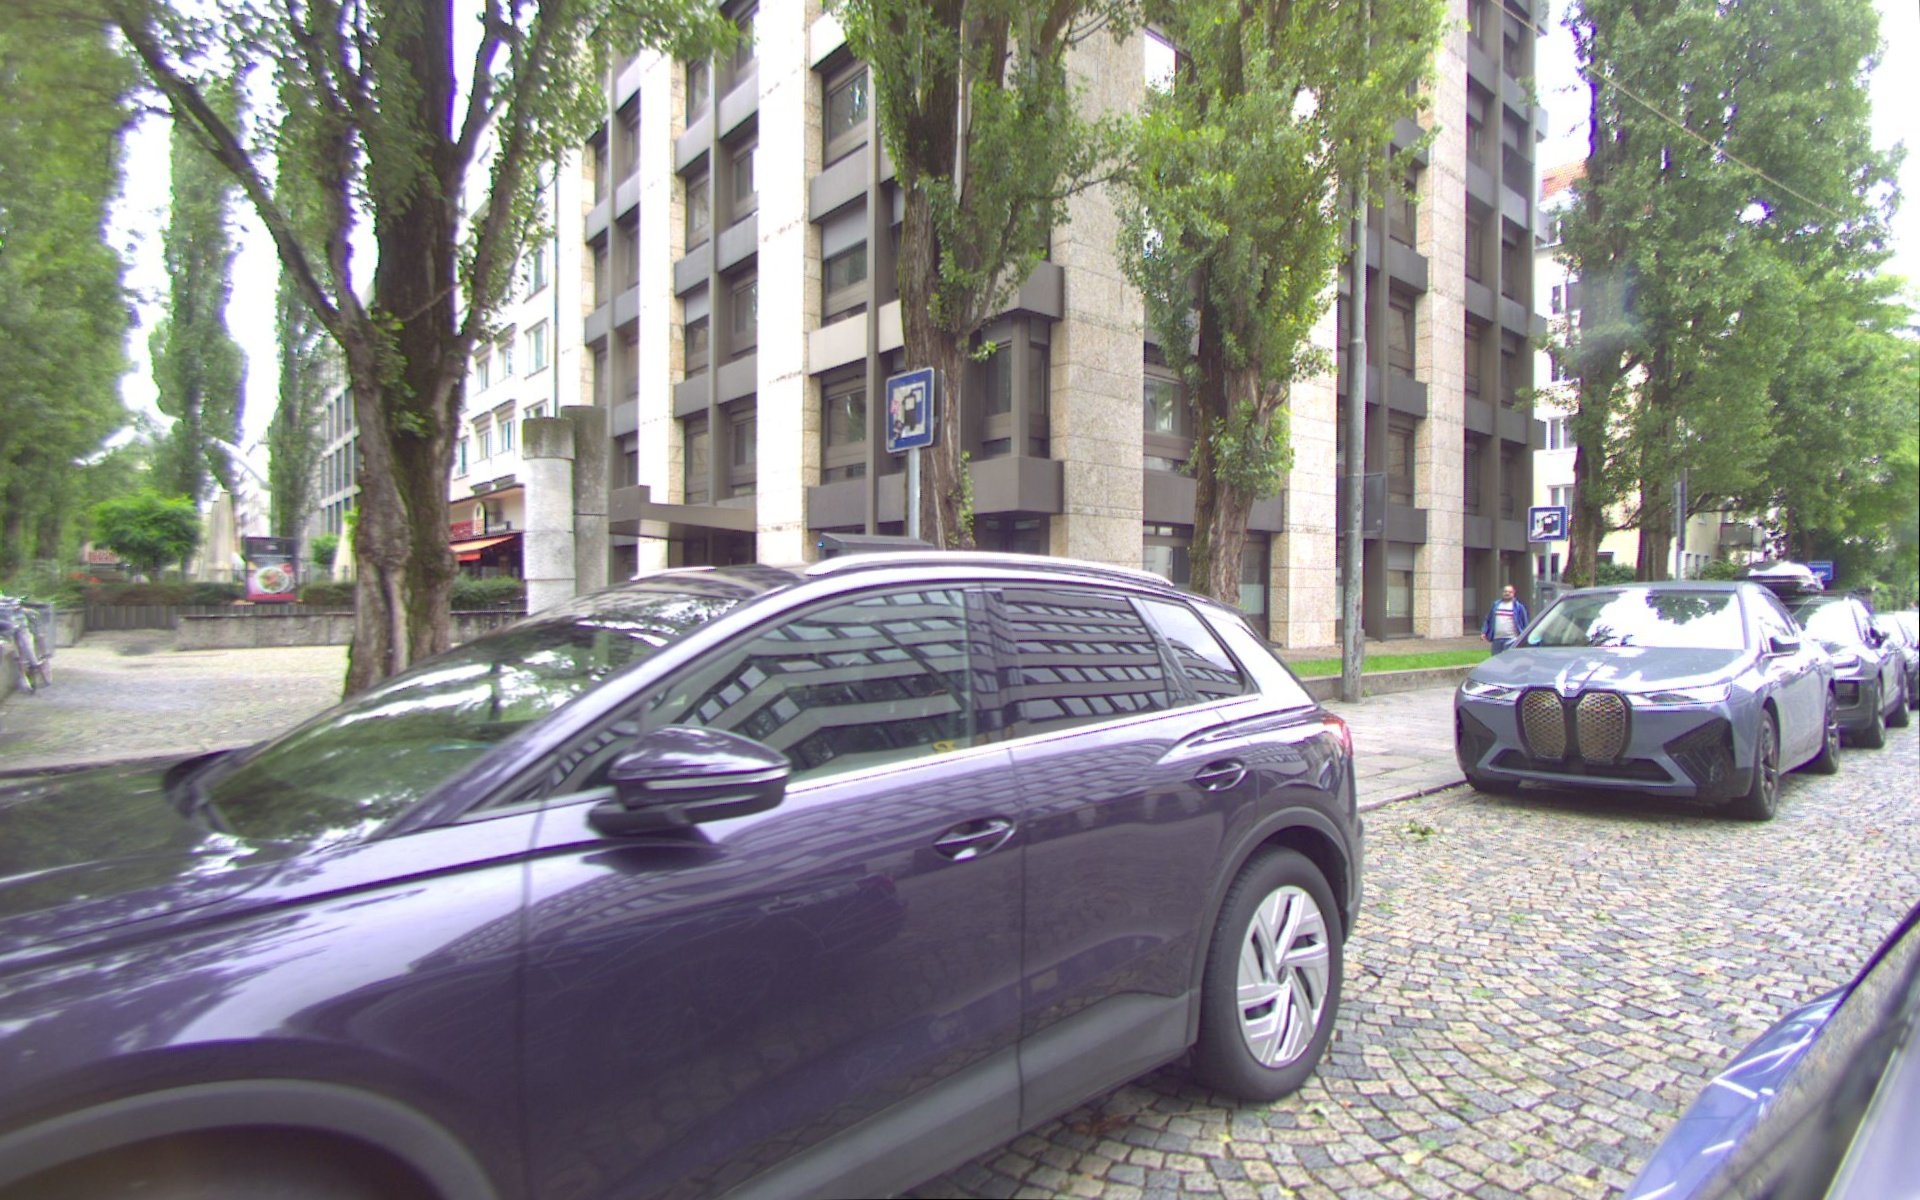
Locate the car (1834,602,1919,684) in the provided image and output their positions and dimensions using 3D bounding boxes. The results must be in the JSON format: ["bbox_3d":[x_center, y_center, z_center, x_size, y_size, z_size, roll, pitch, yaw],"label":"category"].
[{"bbox_3d":[18.186,0.772,19.454,3.500,1.449,1.603,0,-2,-41],"label":"car"}]

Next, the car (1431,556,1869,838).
[{"bbox_3d":[5.955,0.586,8.486,4.593,1.722,2.015,0,0,-42],"label":"car"}]

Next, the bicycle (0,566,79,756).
[{"bbox_3d":[-7.136,0.410,7.583,0.708,1.293,1.867,0,0,-38],"label":"bicycle"}]

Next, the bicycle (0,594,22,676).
[{"bbox_3d":[-14.657,0.504,15.270,0.577,1.174,1.867,0,0,-38],"label":"bicycle"}]

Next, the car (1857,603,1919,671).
[{"bbox_3d":[21.626,0.771,22.546,3.806,1.405,1.996,0,-1,-41],"label":"car"}]

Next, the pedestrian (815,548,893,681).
[{"bbox_3d":[-1.346,0.169,12.840,0.706,1.627,0.709,0,0,43],"label":"pedestrian"}]

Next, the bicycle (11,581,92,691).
[{"bbox_3d":[-10.469,0.378,11.702,0.577,1.174,1.867,0,0,-38],"label":"bicycle"}]

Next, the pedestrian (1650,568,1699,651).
[{"bbox_3d":[13.780,0.172,19.514,0.697,1.557,0.644,0,0,-43],"label":"pedestrian"}]

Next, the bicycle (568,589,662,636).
[{"bbox_3d":[-8.828,0.309,25.968,2.206,1.170,0.647,0,0,-40],"label":"bicycle"}]

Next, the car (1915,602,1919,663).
[{"bbox_3d":[25.933,0.785,25.942,3.809,1.518,1.864,0,-1,-43],"label":"car"}]

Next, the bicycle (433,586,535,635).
[{"bbox_3d":[-11.709,0.248,24.940,2.206,1.170,0.647,0,0,-40],"label":"bicycle"}]

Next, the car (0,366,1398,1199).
[{"bbox_3d":[-0.672,0.596,2.799,4.129,1.722,1.923,0,0,-42],"label":"car"}]

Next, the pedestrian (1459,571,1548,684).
[{"bbox_3d":[8.620,0.416,16.078,0.893,1.735,0.871,0,0,-21],"label":"pedestrian"}]

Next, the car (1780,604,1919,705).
[{"bbox_3d":[14.675,0.789,16.302,4.135,1.408,1.720,0,-1,-43],"label":"car"}]

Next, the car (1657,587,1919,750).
[{"bbox_3d":[10.139,0.670,12.149,4.268,1.603,1.996,0,0,-42],"label":"car"}]
